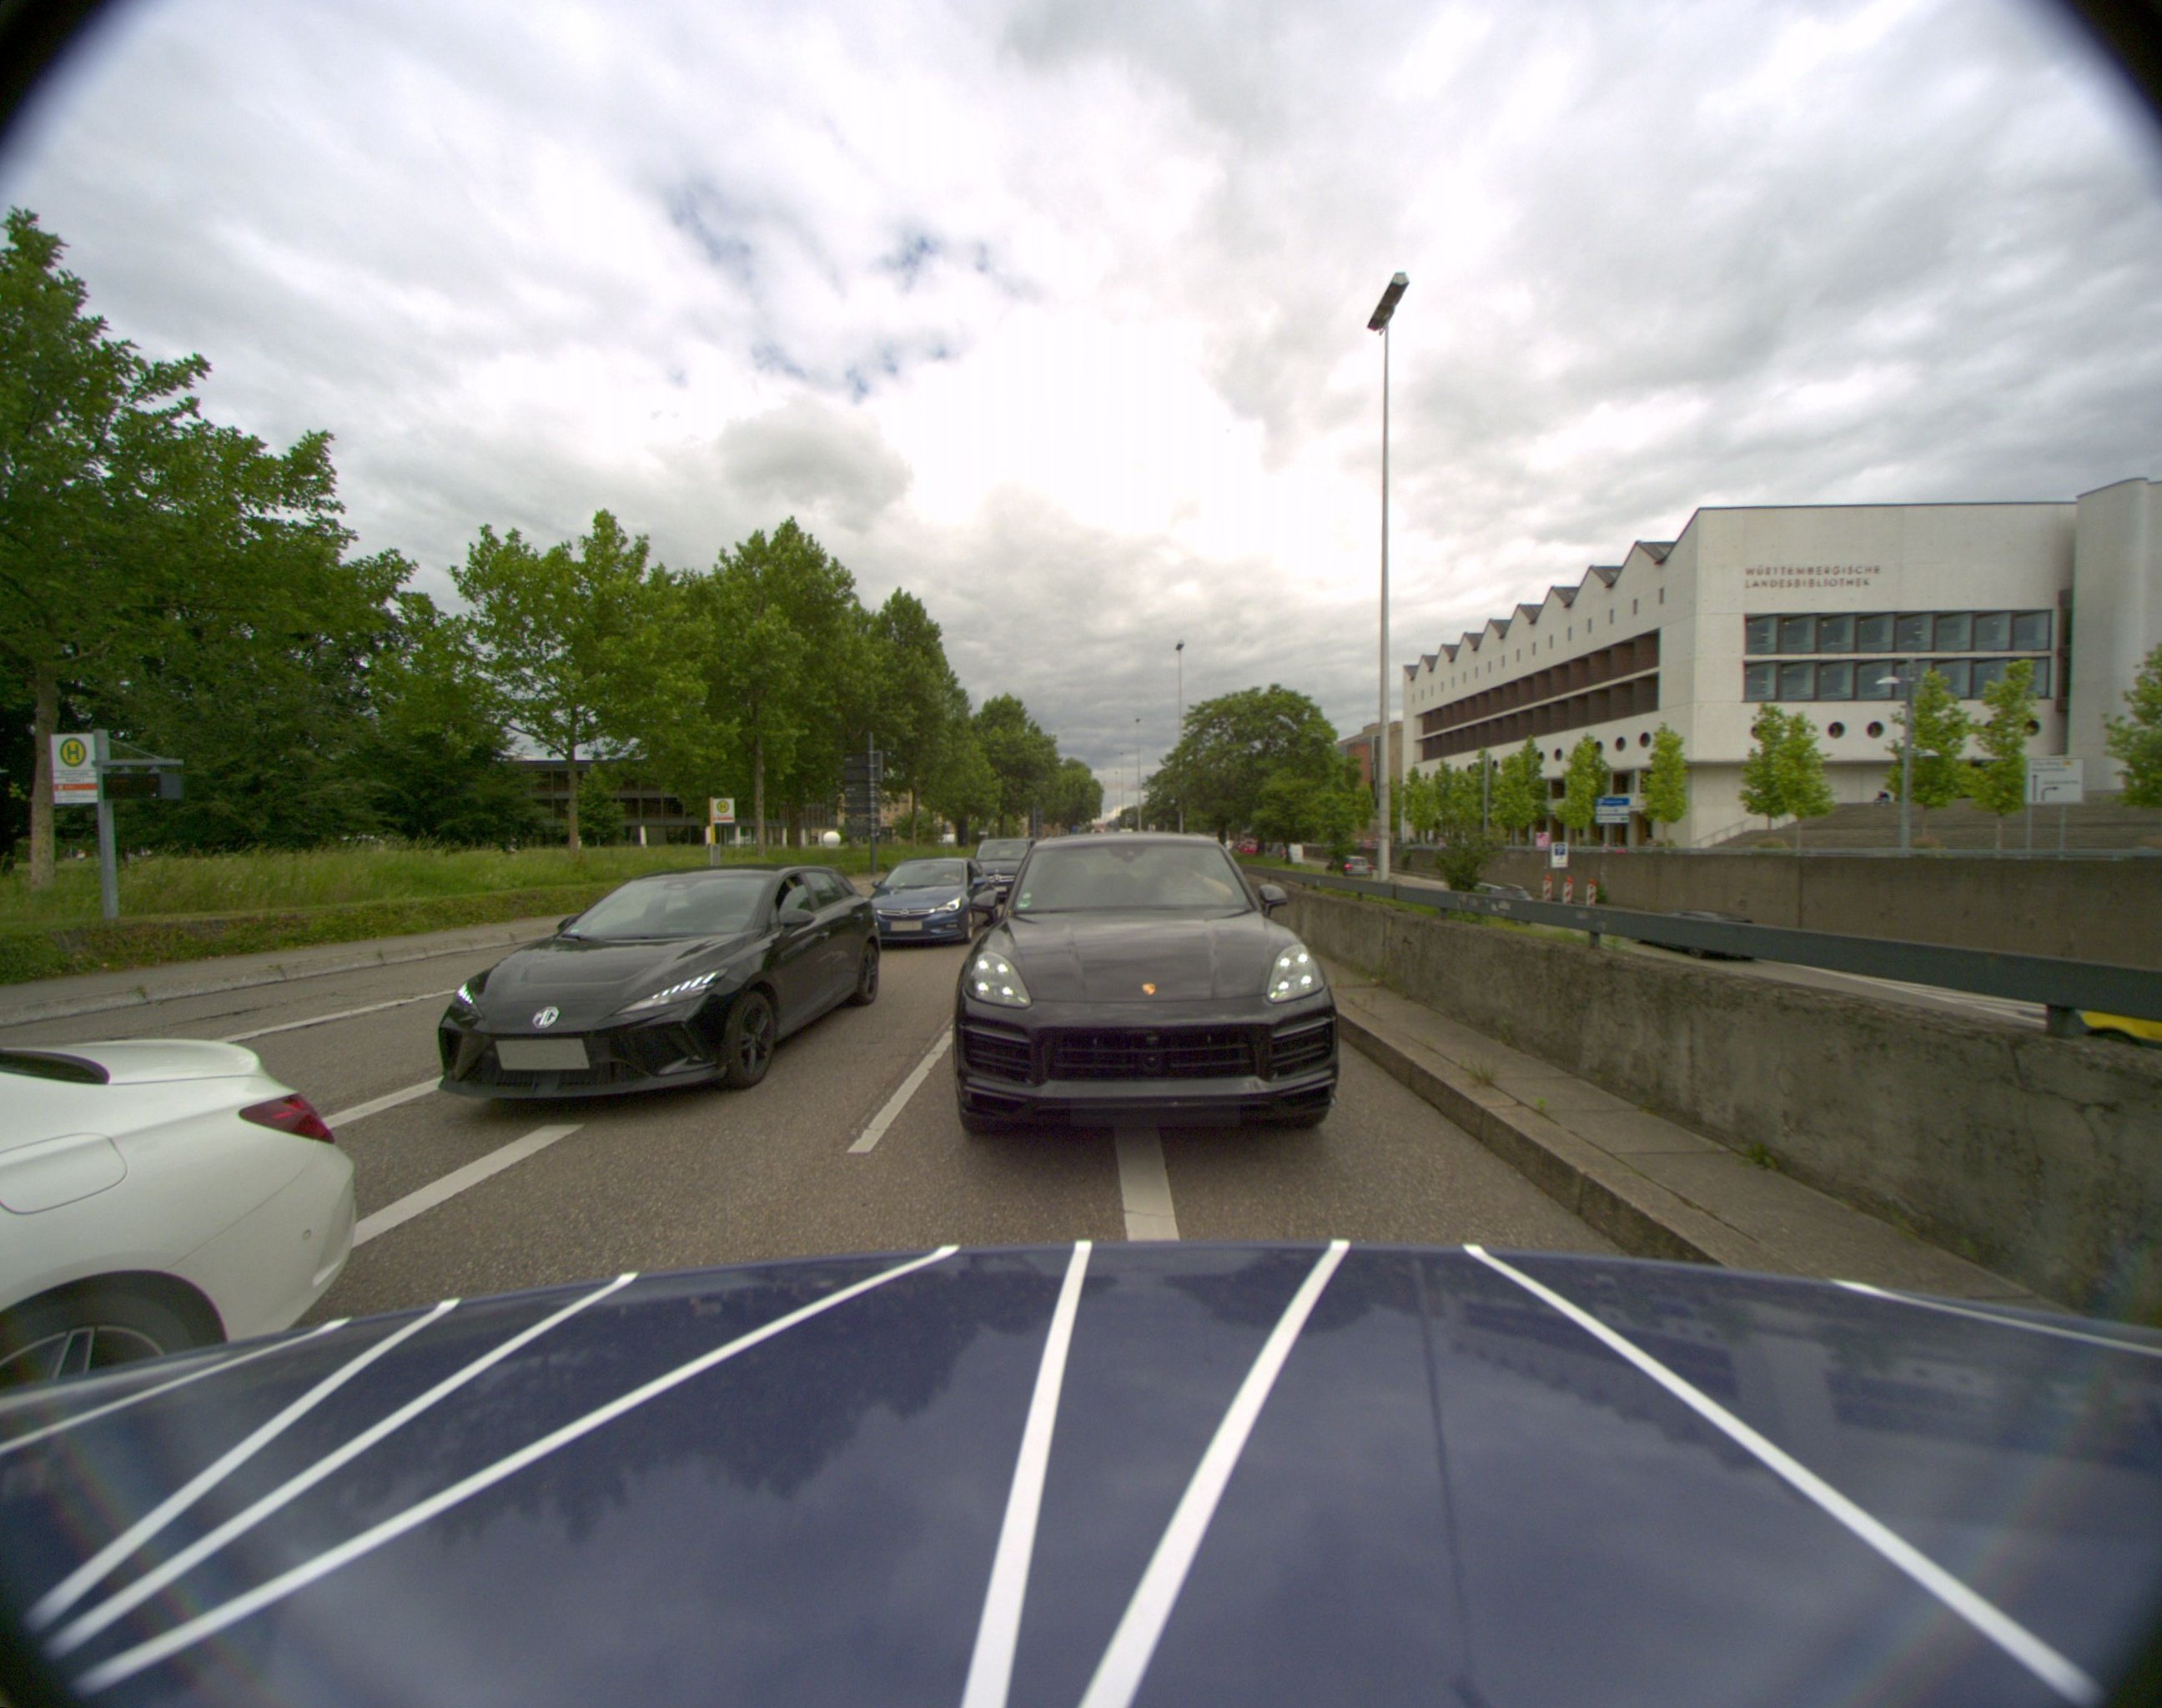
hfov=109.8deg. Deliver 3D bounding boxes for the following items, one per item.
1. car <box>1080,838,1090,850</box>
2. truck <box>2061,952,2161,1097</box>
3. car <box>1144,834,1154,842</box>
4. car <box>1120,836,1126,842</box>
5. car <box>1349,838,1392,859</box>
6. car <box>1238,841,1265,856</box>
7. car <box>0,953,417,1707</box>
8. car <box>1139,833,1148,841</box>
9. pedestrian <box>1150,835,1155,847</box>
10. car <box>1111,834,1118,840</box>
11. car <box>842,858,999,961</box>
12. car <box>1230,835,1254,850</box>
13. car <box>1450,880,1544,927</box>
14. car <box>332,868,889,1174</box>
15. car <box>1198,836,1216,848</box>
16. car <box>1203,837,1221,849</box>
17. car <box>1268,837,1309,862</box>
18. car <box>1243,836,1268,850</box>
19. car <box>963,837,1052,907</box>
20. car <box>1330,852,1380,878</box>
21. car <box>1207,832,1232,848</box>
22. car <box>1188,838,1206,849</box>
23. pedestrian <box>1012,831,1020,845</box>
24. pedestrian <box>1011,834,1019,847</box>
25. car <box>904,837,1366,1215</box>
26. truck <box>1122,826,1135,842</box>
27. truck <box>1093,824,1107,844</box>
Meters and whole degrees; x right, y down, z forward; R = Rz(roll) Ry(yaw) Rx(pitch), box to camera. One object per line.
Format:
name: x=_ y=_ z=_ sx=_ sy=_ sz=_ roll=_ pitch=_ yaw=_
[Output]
car: x=0.723 y=-1.801 z=138.783 sx=1.693 sy=2.002 sz=3.999 roll=-3 pitch=2 yaw=2
truck: x=20.320 y=3.099 z=12.188 sx=2.188 sy=2.386 sz=5.379 roll=-1 pitch=-1 yaw=-1
car: x=12.033 y=-2.789 z=134.428 sx=1.372 sy=1.390 sz=3.721 roll=2 pitch=1 yaw=0
car: x=11.367 y=-4.009 z=205.665 sx=1.525 sy=1.389 sz=3.479 roll=-1 pitch=-1 yaw=3
car: x=27.063 y=-0.504 z=71.141 sx=2.180 sy=1.844 sz=4.735 roll=-1 pitch=1 yaw=-1
car: x=17.458 y=-0.556 z=77.938 sx=1.998 sy=1.477 sz=4.000 roll=-1 pitch=1 yaw=2
car: x=-3.174 y=1.093 z=0.229 sx=1.799 sy=1.412 sz=4.526 roll=-1 pitch=1 yaw=2
car: x=11.741 y=-3.183 z=141.968 sx=1.372 sy=1.390 sz=3.721 roll=2 pitch=1 yaw=0
pedestrian: x=12.072 y=-2.137 z=127.498 sx=0.792 sy=2.002 sz=0.741 roll=-1 pitch=0 yaw=2
car: x=10.475 y=-5.405 z=240.154 sx=1.998 sy=1.753 sz=3.999 roll=2 pitch=2 yaw=0
car: x=-2.659 y=0.857 z=13.601 sx=1.805 sy=1.426 sz=4.015 roll=-1 pitch=1 yaw=2
car: x=20.186 y=-1.442 z=95.358 sx=1.875 sy=1.604 sz=4.386 roll=0 pitch=4 yaw=-3
car: x=17.507 y=2.050 z=32.199 sx=1.717 sy=1.533 sz=3.906 roll=-3 pitch=2 yaw=-2
car: x=-3.093 y=0.964 z=6.203 sx=1.852 sy=1.481 sz=4.092 roll=-1 pitch=1 yaw=2
car: x=17.179 y=-1.681 z=103.665 sx=1.779 sy=1.481 sz=4.143 roll=0 pitch=4 yaw=0
car: x=19.678 y=-1.625 z=114.474 sx=1.998 sy=1.753 sz=3.999 roll=2 pitch=2 yaw=0
car: x=17.614 y=-0.411 z=64.667 sx=2.223 sy=2.002 sz=5.116 roll=-1 pitch=1 yaw=2
car: x=20.367 y=-1.312 z=88.666 sx=1.780 sy=1.481 sz=4.142 roll=0 pitch=4 yaw=-2
car: x=-2.068 y=0.433 z=22.893 sx=2.021 sy=1.823 sz=4.804 roll=-1 pitch=1 yaw=2
car: x=17.967 y=0.709 z=50.025 sx=1.880 sy=1.539 sz=3.999 roll=-1 pitch=1 yaw=1
car: x=16.833 y=-1.750 z=92.363 sx=1.998 sy=1.630 sz=5.247 roll=5 pitch=3 yaw=0
car: x=16.761 y=-1.513 z=109.816 sx=1.998 sy=1.390 sz=3.999 roll=2 pitch=1 yaw=0
pedestrian: x=-9.556 y=-2.355 z=111.336 sx=0.892 sy=2.002 sz=1.181 roll=-3 pitch=2 yaw=2
pedestrian: x=-10.095 y=-2.040 z=116.362 sx=0.892 sy=2.002 sz=1.181 roll=-3 pitch=2 yaw=2
car: x=0.351 y=0.686 z=5.557 sx=1.904 sy=1.581 sz=4.732 roll=-1 pitch=1 yaw=3
truck: x=10.726 y=-4.619 z=173.221 sx=2.576 sy=3.289 sz=8.078 roll=-3 pitch=2 yaw=2
truck: x=3.564 y=-3.851 z=143.091 sx=2.357 sy=3.518 sz=9.423 roll=-3 pitch=2 yaw=2
